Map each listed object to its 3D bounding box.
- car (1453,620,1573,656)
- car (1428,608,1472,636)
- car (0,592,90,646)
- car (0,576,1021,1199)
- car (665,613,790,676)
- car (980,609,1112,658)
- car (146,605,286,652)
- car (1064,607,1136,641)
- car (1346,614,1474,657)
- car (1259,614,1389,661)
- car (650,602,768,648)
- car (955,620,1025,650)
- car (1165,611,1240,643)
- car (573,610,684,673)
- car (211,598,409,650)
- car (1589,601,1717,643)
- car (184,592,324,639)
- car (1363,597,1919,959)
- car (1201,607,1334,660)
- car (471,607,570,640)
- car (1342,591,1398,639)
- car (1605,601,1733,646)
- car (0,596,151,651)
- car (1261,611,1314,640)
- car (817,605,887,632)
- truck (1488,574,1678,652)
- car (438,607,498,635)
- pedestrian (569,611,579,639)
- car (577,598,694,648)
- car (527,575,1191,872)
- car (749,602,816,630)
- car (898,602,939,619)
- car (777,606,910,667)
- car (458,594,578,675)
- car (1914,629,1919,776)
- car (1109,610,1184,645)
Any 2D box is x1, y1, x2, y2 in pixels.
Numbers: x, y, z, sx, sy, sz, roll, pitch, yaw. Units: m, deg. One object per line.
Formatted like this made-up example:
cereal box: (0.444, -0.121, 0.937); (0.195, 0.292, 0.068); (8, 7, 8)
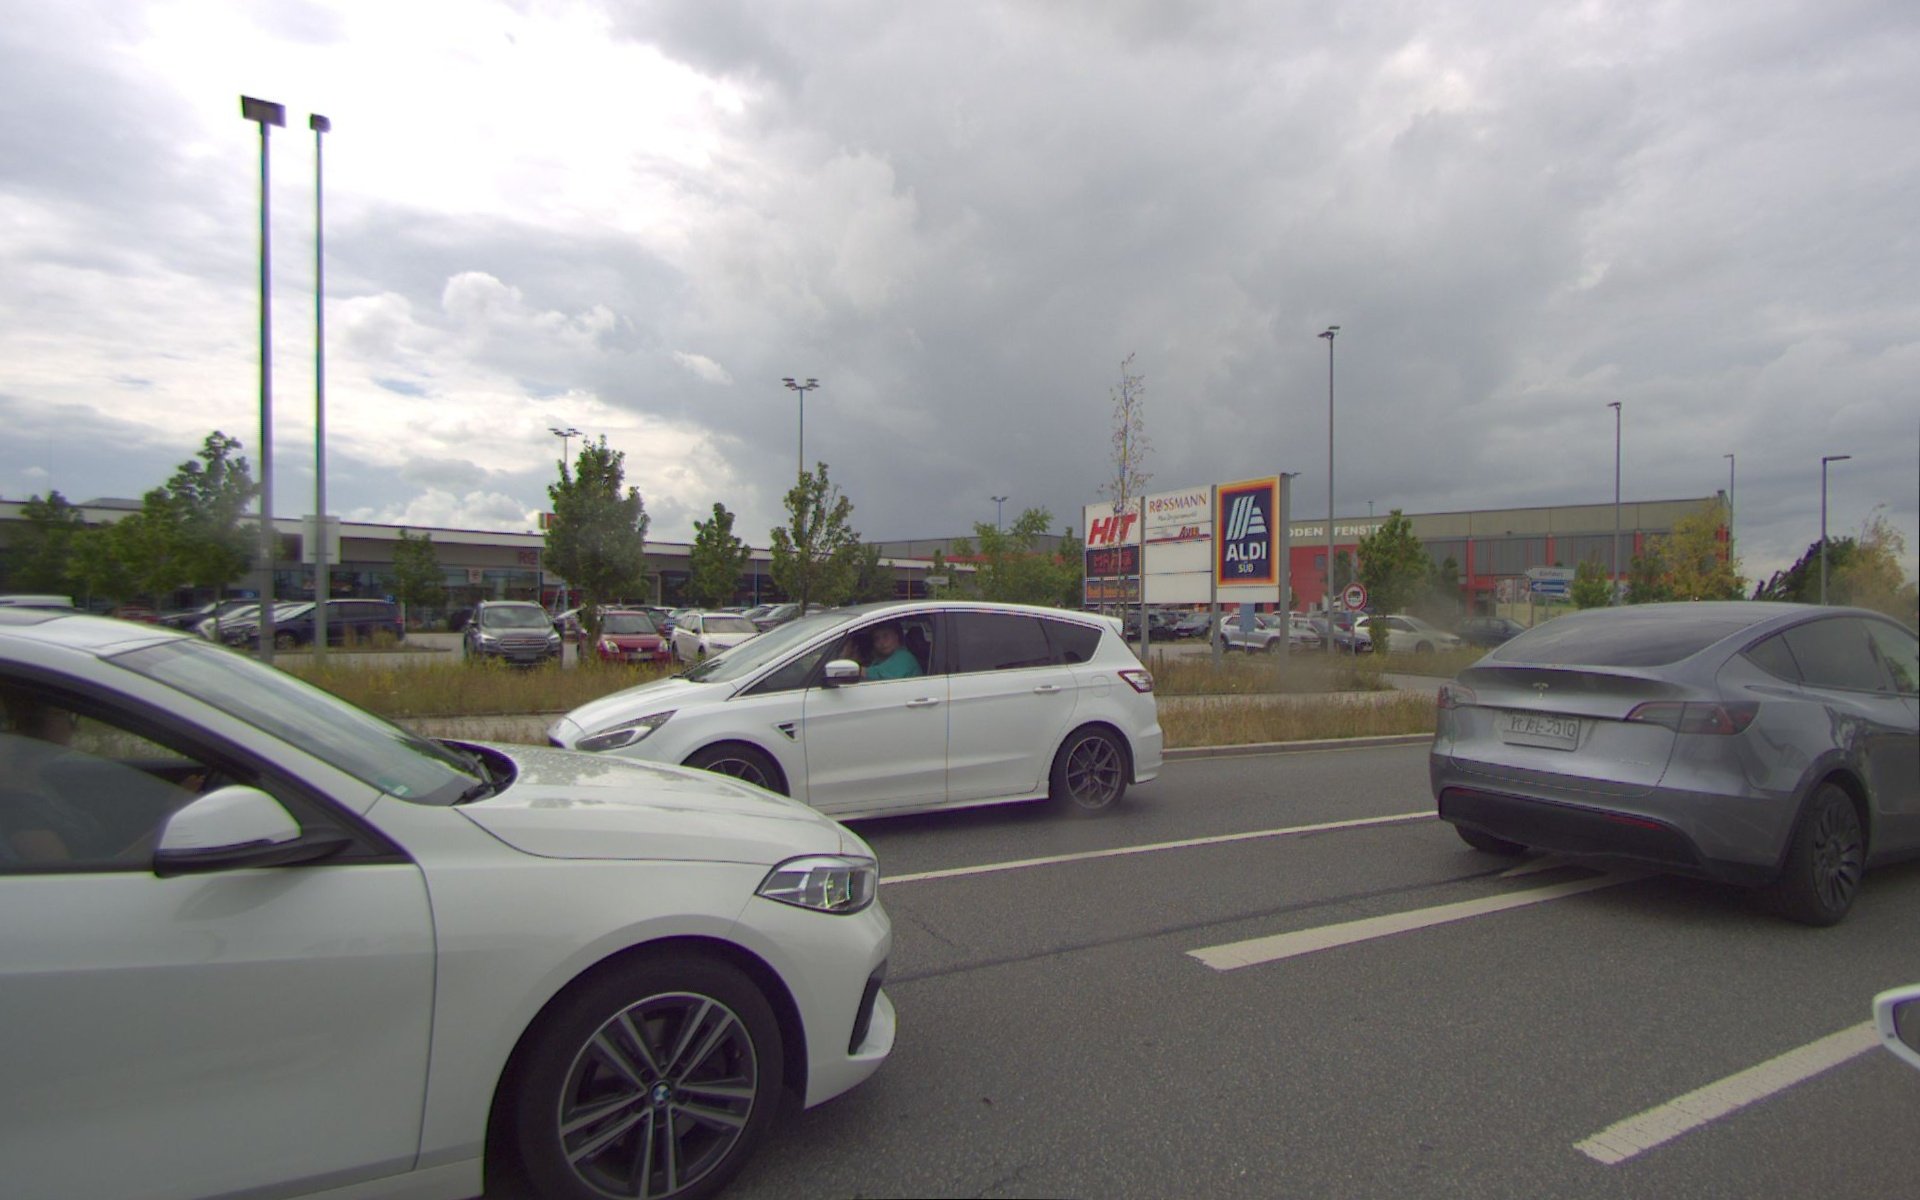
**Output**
car: (24.034, 1.602, 43.773); (1.978, 1.454, 4.204); (1, -1, -35)
car: (36.292, 1.628, 74.390); (1.969, 2.060, 4.619); (0, -1, 39)
car: (-34.885, 0.685, 36.776); (2.210, 1.899, 4.287); (0, -1, 39)
car: (-2.089, 0.712, 2.582); (4.143, 1.488, 1.871); (2, -1, -30)
car: (-6.074, 1.078, 25.888); (1.987, 1.476, 4.298); (1, -1, -30)
car: (2.573, 0.985, 31.228); (2.138, 1.409, 4.341); (1, -1, -27)
car: (-28.800, 1.078, 38.992); (1.808, 1.706, 3.987); (0, -1, 35)
car: (7.041, 1.187, 50.247); (1.825, 1.628, 3.983); (0, -1, 38)
car: (17.734, 1.348, 39.693); (1.972, 1.580, 4.214); (1, -1, -38)
car: (13.308, 1.332, 36.925); (2.021, 1.533, 4.224); (1, 0, -29)
car: (-9.466, 0.930, 38.115); (1.970, 1.628, 3.981); (0, -1, 40)
car: (1.709, 1.909, 55.909); (1.969, 1.628, 3.983); (0, -1, 38)
car: (13.095, 1.413, 53.969); (1.969, 1.628, 5.251); (0, -1, 38)
car: (-8.236, 0.966, 24.735); (1.975, 1.409, 4.069); (1, -1, -28)
car: (-20.808, 0.767, 32.313); (1.973, 1.539, 5.073); (0, -1, 45)
car: (40.747, 1.248, 59.130); (5.999, 2.337, 2.199); (1, -1, 41)
car: (-26.721, 0.585, 38.118); (1.808, 1.706, 3.987); (0, -1, 35)
car: (4.921, 0.819, 6.385); (4.556, 1.582, 1.985); (1, -1, -29)
car: (10.892, 1.148, 35.825); (2.007, 1.746, 4.217); (1, -1, -33)
car: (-21.326, 1.125, 48.818); (1.970, 1.566, 3.982); (0, -1, 39)
car: (24.413, 0.892, 59.635); (2.031, 2.726, 5.130); (0, -1, 35)
car: (44.202, 1.410, 62.738); (6.336, 2.633, 2.231); (1, -1, 42)
car: (-26.555, 0.672, 29.387); (1.969, 1.539, 4.179); (0, -1, 38)
car: (20.577, 1.561, 63.014); (1.969, 1.752, 3.983); (0, -1, 38)
car: (-6.728, 1.144, 63.064); (1.969, 1.628, 4.276); (0, -1, 38)
truck: (30.650, 0.669, 49.507); (8.281, 3.588, 2.853); (1, 0, -12)
car: (-30.020, 1.252, 61.232); (3.945, 1.628, 2.073); (0, -1, 44)
pedestrian: (-15.375, 0.992, 39.971); (0.264, 1.063, 0.391); (1, 0, -7)
car: (-13.363, 0.930, 41.611); (1.807, 1.947, 4.436); (0, -1, 33)
car: (-0.666, 0.769, 7.648); (4.647, 1.658, 1.985); (1, -3, -30)
car: (-11.526, 1.055, 65.440); (1.969, 1.755, 3.983); (0, -1, 38)
car: (-4.087, 1.021, 99.027); (1.986, 1.628, 3.949); (2, -1, -43)
car: (-3.303, 0.941, 27.683); (2.212, 1.525, 4.347); (1, -1, -29)
car: (-10.387, 0.755, 23.420); (2.057, 1.677, 4.279); (1, -1, -31)
car: (11.711, 1.072, 10.269); (4.182, 1.457, 1.760); (2, -1, -30)
car: (9.084, 1.308, 48.791); (1.969, 1.628, 3.983); (0, -1, 38)
